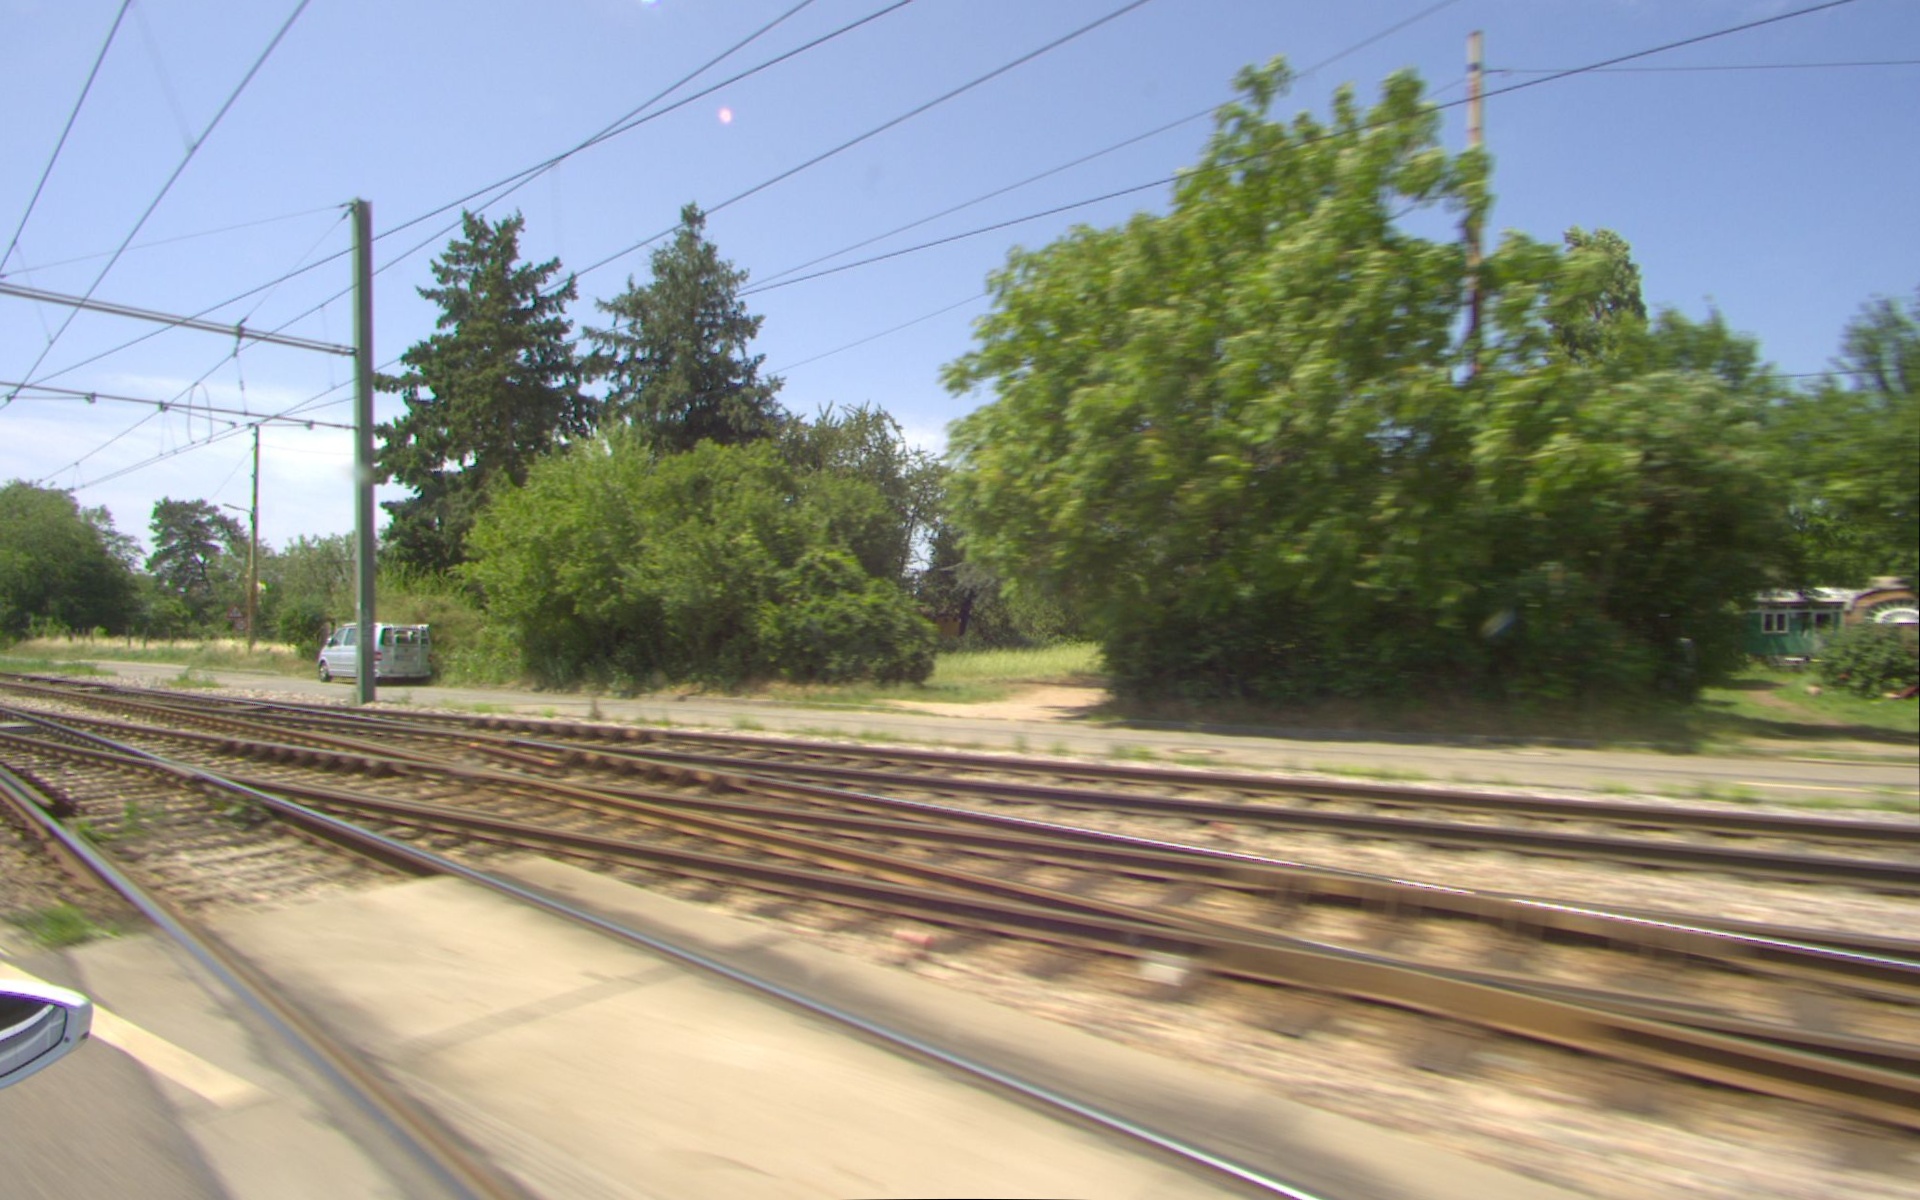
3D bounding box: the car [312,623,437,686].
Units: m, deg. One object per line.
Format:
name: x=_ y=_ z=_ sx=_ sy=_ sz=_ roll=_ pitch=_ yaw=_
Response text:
car: x=-19.410 y=1.771 z=33.110 sx=5.011 sy=1.906 sz=2.027 roll=-3 pitch=-2 yaw=41
